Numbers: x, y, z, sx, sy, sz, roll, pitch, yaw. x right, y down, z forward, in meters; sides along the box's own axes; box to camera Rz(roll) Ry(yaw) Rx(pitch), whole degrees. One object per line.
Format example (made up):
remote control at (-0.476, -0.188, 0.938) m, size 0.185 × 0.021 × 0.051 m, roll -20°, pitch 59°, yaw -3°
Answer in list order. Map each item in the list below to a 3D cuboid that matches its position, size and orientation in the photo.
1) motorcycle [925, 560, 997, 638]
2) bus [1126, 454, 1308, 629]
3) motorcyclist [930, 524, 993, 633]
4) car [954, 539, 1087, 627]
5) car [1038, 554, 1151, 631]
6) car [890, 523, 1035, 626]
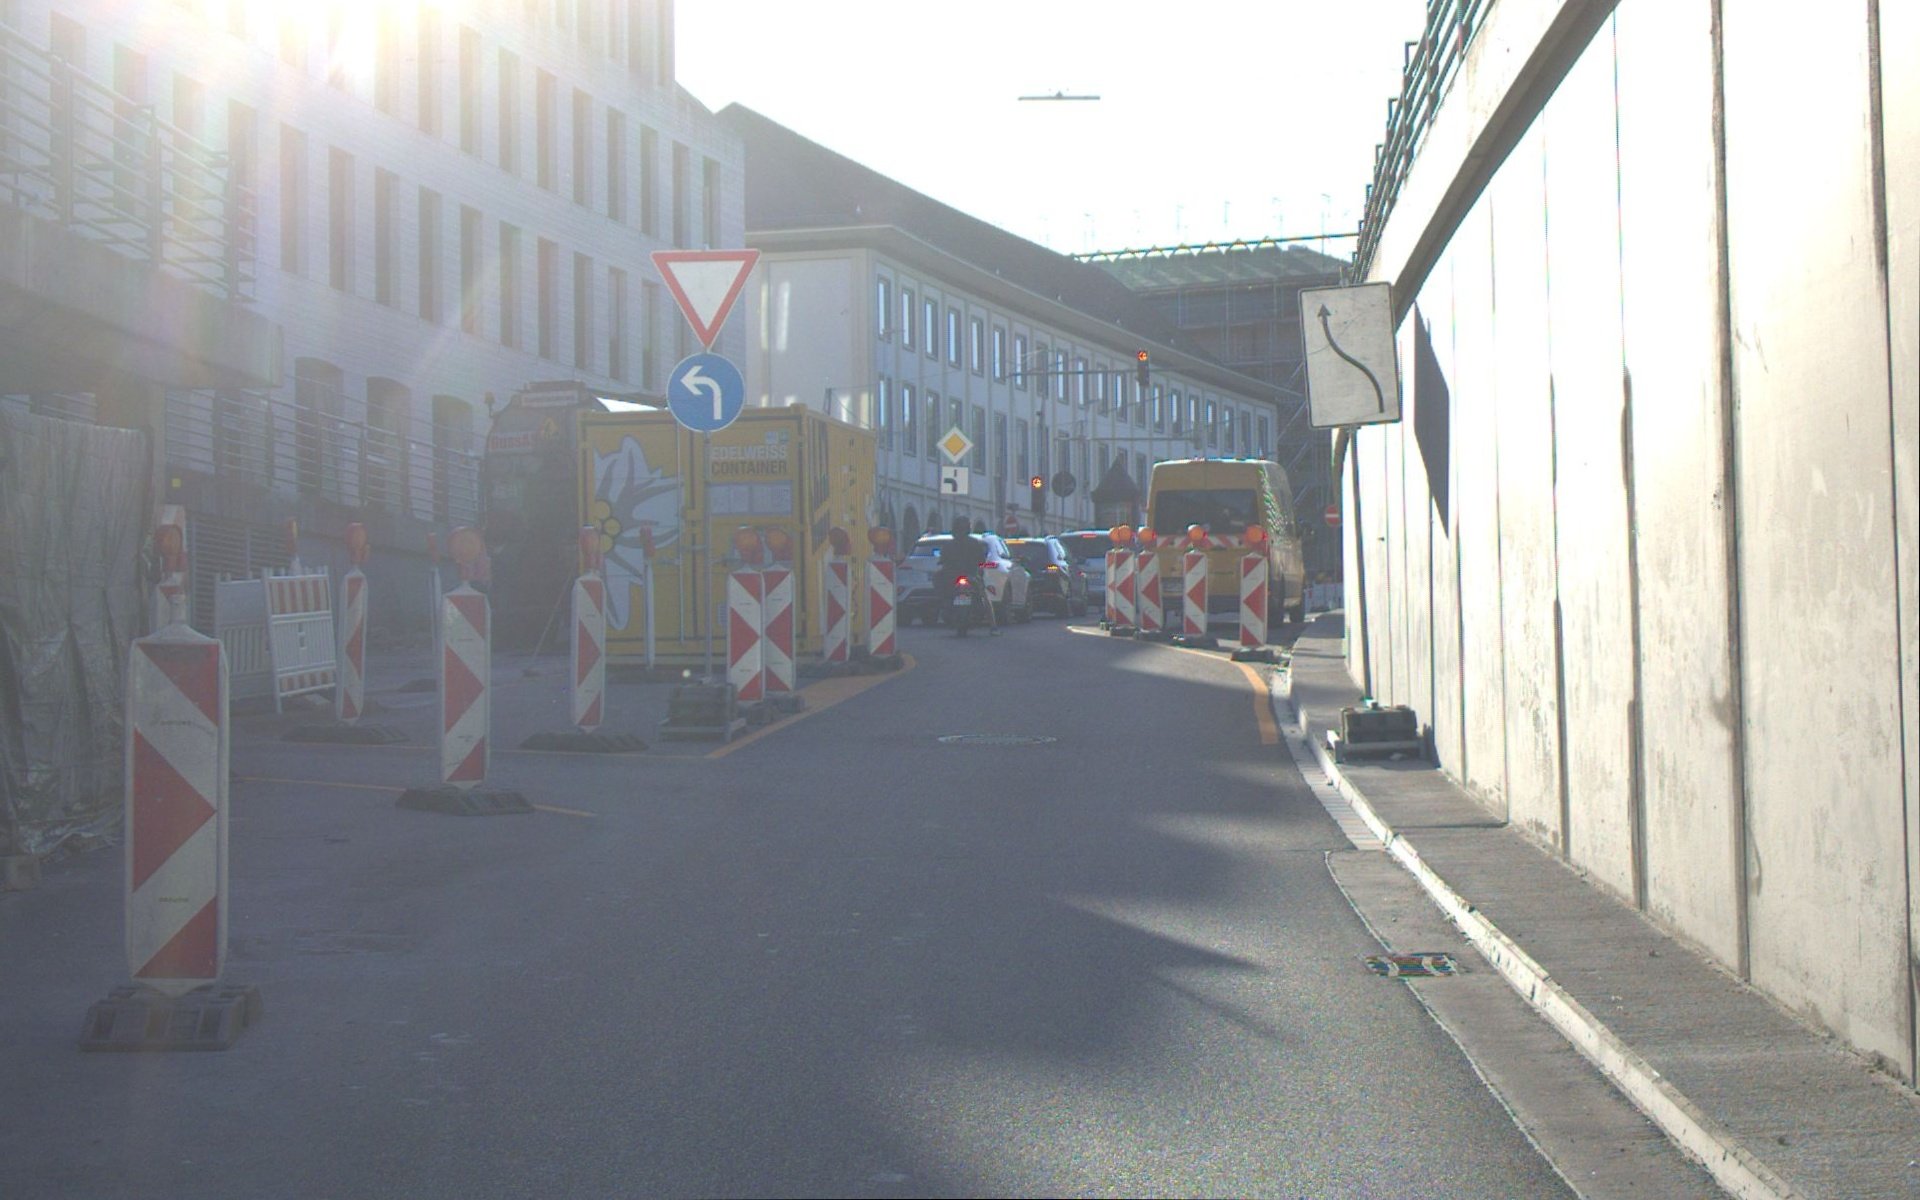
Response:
motorcycle at (0.023, -0.003, 48.575) m, size 0.771 × 0.989 × 2.183 m, roll 0°, pitch -3°, yaw 6°
bus at (3.958, -0.866, 52.297) m, size 2.226 × 2.548 × 4.425 m, roll 0°, pitch 0°, yaw 11°
motorcyclist at (0.028, -0.298, 48.570) m, size 0.804 × 1.499 × 0.776 m, roll 0°, pitch -3°, yaw 6°
car at (1.125, -0.290, 61.816) m, size 1.821 × 1.528 × 3.998 m, roll 0°, pitch 0°, yaw 9°
car at (2.805, -0.149, 70.831) m, size 1.857 × 1.528 × 3.998 m, roll 0°, pitch 0°, yaw 9°
car at (0.085, -0.391, 55.412) m, size 1.776 × 1.599 × 3.999 m, roll 0°, pitch 0°, yaw 8°
